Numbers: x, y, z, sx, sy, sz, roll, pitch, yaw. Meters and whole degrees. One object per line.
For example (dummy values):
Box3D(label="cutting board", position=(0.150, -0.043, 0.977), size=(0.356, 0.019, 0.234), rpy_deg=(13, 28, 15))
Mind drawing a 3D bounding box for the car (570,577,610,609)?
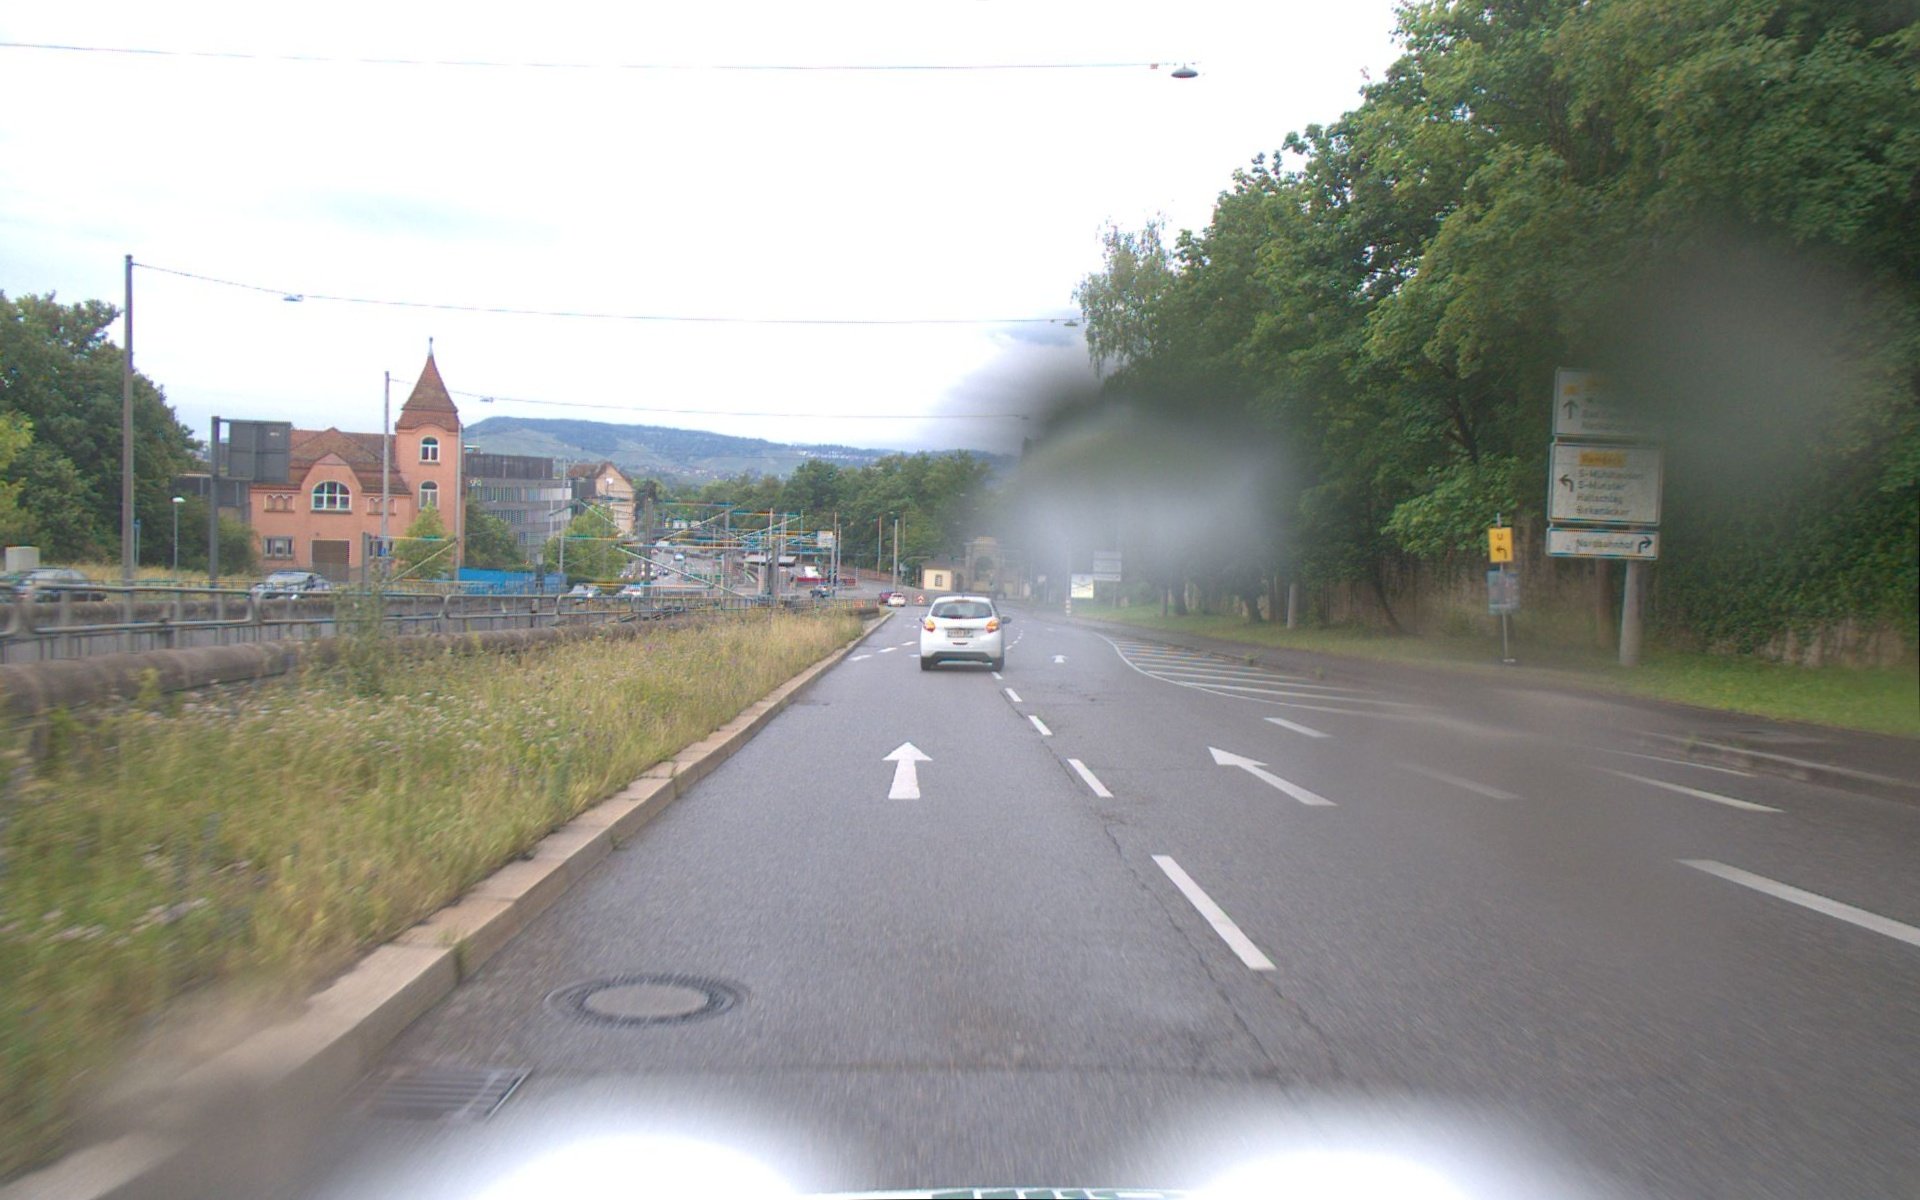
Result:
Box3D(label="car", position=(-24.950, -0.488, 111.691), size=(1.854, 2.004, 4.032), rpy_deg=(4, 0, -4))

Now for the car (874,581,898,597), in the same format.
Box3D(label="car", position=(-8.628, -1.288, 192.063), size=(1.960, 1.735, 3.986), rpy_deg=(1, 1, -14))

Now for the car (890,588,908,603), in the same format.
Box3D(label="car", position=(-6.750, -0.470, 183.881), size=(1.785, 1.634, 4.000), rpy_deg=(0, 1, 0))

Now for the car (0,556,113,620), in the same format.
Box3D(label="car", position=(-25.457, -0.350, 45.886), size=(1.852, 1.669, 3.972), rpy_deg=(2, 1, 0))

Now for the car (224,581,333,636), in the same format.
Box3D(label="car", position=(-23.475, 0.277, 57.170), size=(1.853, 1.672, 4.357), rpy_deg=(5, 0, 0))

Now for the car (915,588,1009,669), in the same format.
Box3D(label="car", position=(0.019, 0.551, 34.454), size=(1.830, 1.537, 3.899), rpy_deg=(0, 1, -1))
